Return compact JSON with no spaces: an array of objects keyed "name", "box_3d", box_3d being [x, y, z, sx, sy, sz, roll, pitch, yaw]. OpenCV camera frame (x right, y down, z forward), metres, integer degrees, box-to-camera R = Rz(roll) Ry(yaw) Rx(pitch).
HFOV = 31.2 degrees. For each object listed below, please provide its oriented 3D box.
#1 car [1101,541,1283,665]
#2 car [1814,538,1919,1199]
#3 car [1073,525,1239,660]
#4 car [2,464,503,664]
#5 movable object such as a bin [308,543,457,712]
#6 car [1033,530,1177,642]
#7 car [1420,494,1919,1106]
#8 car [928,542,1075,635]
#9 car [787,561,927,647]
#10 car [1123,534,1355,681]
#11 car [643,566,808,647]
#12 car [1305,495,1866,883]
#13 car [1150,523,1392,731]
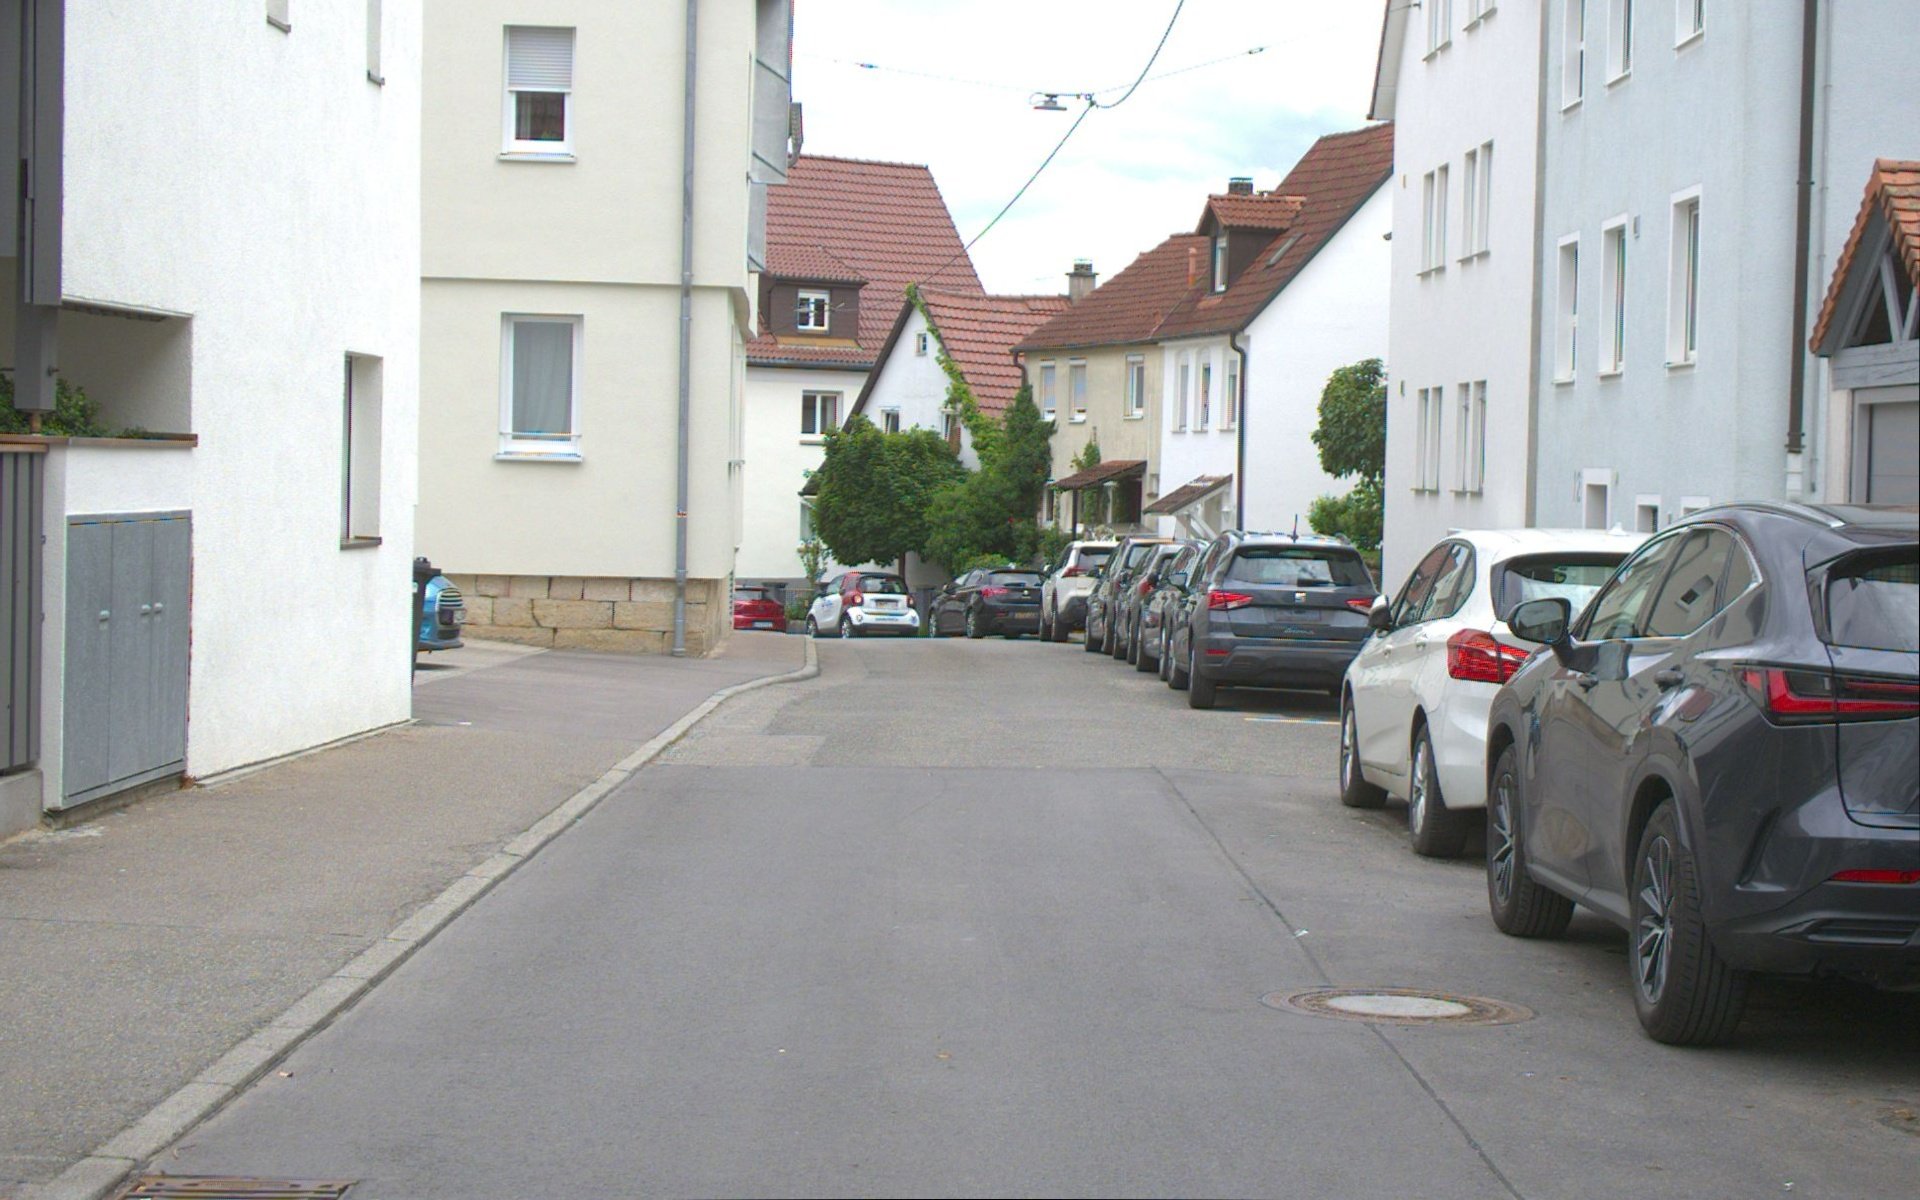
[{"name":"car","box_3d":[2.699,0.032,40.810,1.797,1.347,4.075,2,0,-1]},{"name":"car","box_3d":[2.997,0.704,5.703,1.948,1.502,4.820,2,1,1]},{"name":"car","box_3d":[2.576,-0.110,46.029,1.736,1.605,4.000,4,0,-2]},{"name":"car","box_3d":[-6.074,-0.298,29.832,3.731,1.407,2.120,4,0,4]},{"name":"movable object such as a bin","box_3d":[-3.866,0.181,23.058,0.615,1.072,0.751,5,1,22]},{"name":"car","box_3d":[2.312,-0.221,55.790,1.873,1.707,4.148,2,0,-3]},{"name":"car","box_3d":[2.876,0.505,11.683,1.863,1.627,4.902,2,1,-1]},{"name":"car","box_3d":[0.767,-0.196,66.816,1.993,1.707,4.001,1,-1,-12]},{"name":"car","box_3d":[-2.300,0.071,75.753,1.962,1.707,4.002,2,2,-19]},{"name":"car","box_3d":[2.801,0.038,35.468,1.918,1.405,4.656,0,1,-1]},{"name":"car","box_3d":[-5.570,0.168,81.181,1.994,1.678,3.999,-5,1,-35]},{"name":"car","box_3d":[2.995,0.326,17.566,1.993,1.610,4.879,3,2,1]},{"name":"car","box_3d":[2.702,0.174,30.743,1.753,1.622,4.535,3,1,1]}]
